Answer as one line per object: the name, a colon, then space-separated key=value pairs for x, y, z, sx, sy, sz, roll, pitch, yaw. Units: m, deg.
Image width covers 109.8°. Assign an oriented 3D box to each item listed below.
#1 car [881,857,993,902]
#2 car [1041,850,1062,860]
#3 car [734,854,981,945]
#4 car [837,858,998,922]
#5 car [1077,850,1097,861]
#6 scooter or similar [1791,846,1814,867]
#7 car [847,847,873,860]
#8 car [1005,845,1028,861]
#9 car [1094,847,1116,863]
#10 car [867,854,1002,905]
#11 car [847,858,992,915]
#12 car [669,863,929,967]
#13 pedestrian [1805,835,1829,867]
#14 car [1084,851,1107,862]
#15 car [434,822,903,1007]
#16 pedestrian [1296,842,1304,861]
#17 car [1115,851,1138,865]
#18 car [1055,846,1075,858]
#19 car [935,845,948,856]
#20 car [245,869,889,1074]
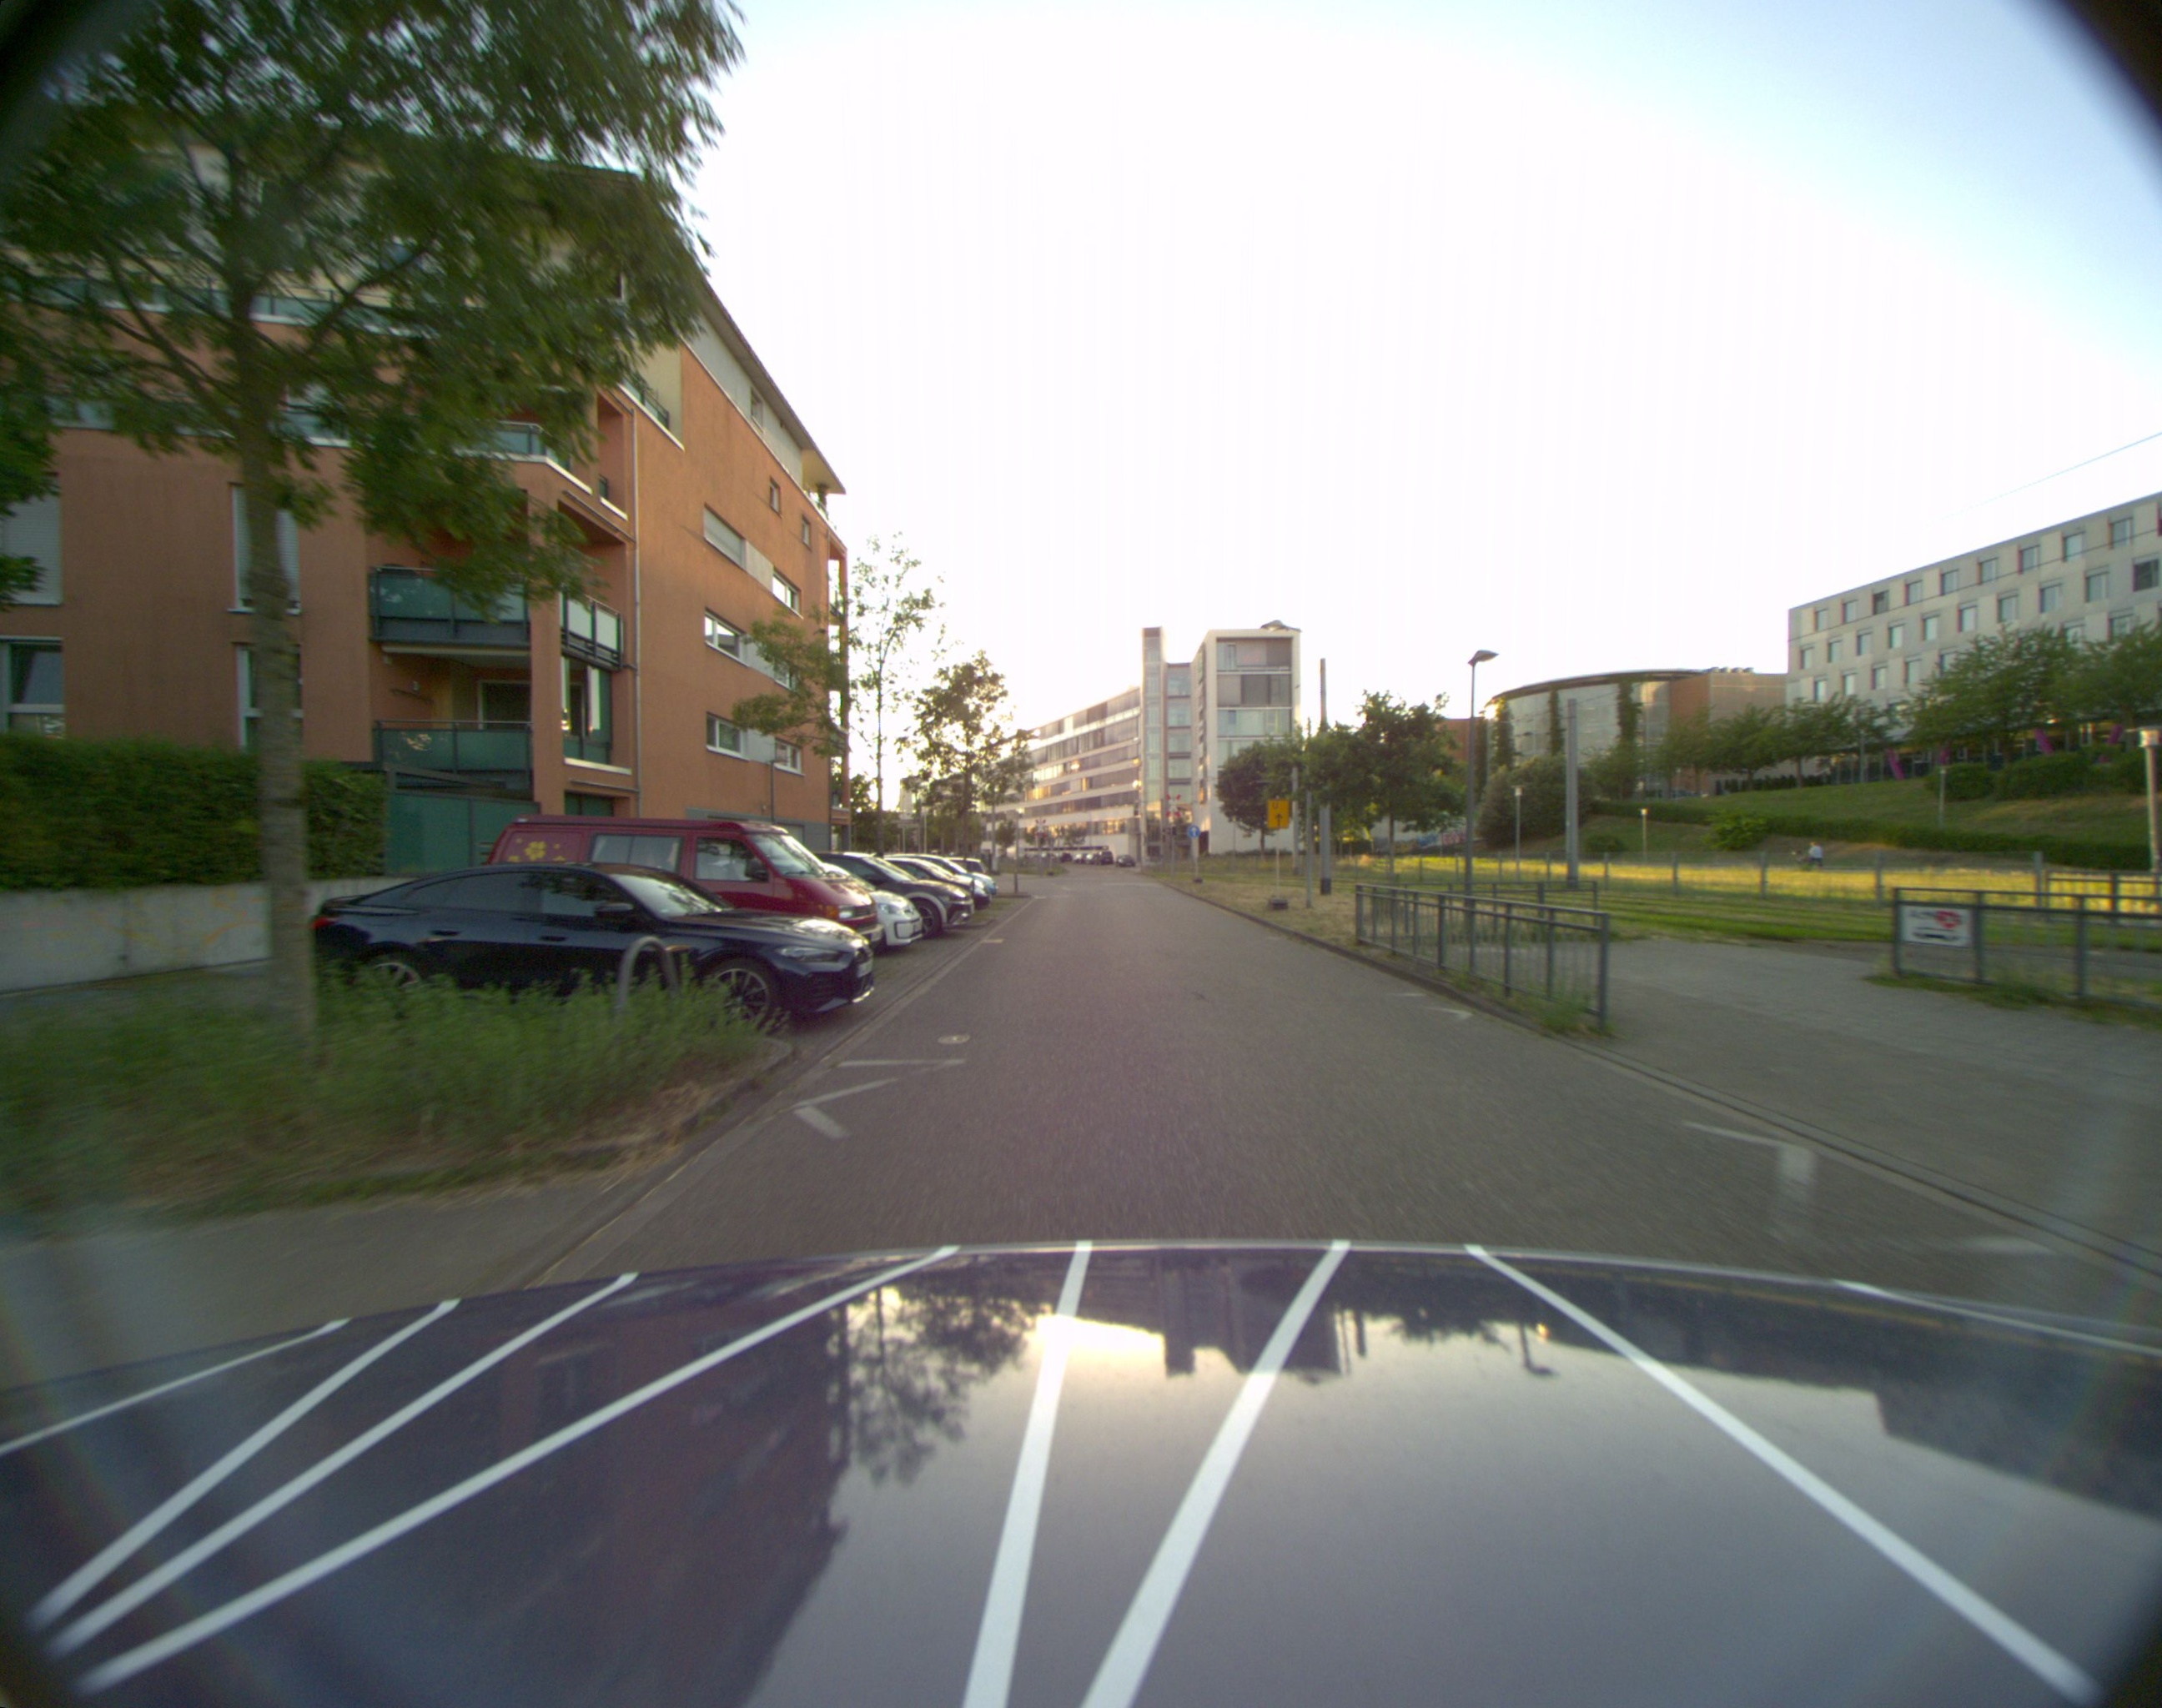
car: x=-5.107 y=0.888 z=27.364 sx=3.760 sy=1.465 sz=1.612 roll=-1 pitch=1 yaw=-4
car: x=-4.706 y=0.194 z=122.737 sx=1.800 sy=1.542 sz=3.991 roll=-3 pitch=2 yaw=-27
car: x=-4.191 y=0.833 z=14.712 sx=4.226 sy=1.560 sz=1.792 roll=1 pitch=1 yaw=1
car: x=-4.150 y=0.905 z=19.697 sx=3.783 sy=1.487 sz=1.538 roll=-1 pitch=3 yaw=0
car: x=0.816 y=0.232 z=107.571 sx=1.655 sy=1.468 sz=3.760 roll=-1 pitch=0 yaw=-19
scooter or similar: x=43.665 y=0.120 z=45.972 sx=0.618 sy=1.237 sz=0.790 roll=-3 pitch=1 yaw=0
car: x=-38.397 y=-0.089 z=131.748 sx=4.005 sy=2.002 sz=1.995 roll=-1 pitch=1 yaw=-27
car: x=-11.521 y=-0.191 z=135.482 sx=2.008 sy=2.859 sz=6.242 roll=0 pitch=0 yaw=-24
car: x=3.130 y=0.140 z=99.097 sx=1.895 sy=1.961 sz=4.513 roll=-3 pitch=1 yaw=-10
car: x=-4.715 y=0.816 z=24.860 sx=4.060 sy=1.560 sz=1.673 roll=1 pitch=1 yaw=1
car: x=-4.678 y=0.930 z=22.345 sx=3.886 sy=1.560 sz=1.620 roll=-1 pitch=1 yaw=1
car: x=-4.368 y=0.915 z=12.136 sx=3.534 sy=1.456 sz=1.615 roll=1 pitch=1 yaw=1
pedestrian: x=43.643 y=-0.188 z=45.089 sx=0.618 sy=1.826 sz=0.790 roll=-3 pitch=1 yaw=0
car: x=1.918 y=0.323 z=103.834 sx=1.867 sy=1.468 sz=4.513 roll=-3 pitch=1 yaw=-16
car: x=-5.032 y=0.708 z=9.809 sx=4.931 sy=2.105 sz=2.017 roll=-1 pitch=1 yaw=2
pedestrian: x=21.769 y=-0.237 z=75.556 sx=0.450 sy=1.826 sz=0.483 roll=-3 pitch=1 yaw=-20
car: x=5.236 y=0.429 z=87.905 sx=1.858 sy=1.434 sz=4.224 roll=-3 pitch=1 yaw=-8
car: x=-2.457 y=-0.300 z=116.622 sx=1.799 sy=1.676 sz=3.992 roll=-1 pitch=1 yaw=-22
car: x=-33.493 y=-0.778 z=182.297 sx=2.003 sy=2.570 sz=3.991 roll=-1 pitch=0 yaw=-27
car: x=-4.368 y=0.962 z=7.052 sx=4.681 sy=1.547 sz=1.811 roll=-1 pitch=1 yaw=-1
